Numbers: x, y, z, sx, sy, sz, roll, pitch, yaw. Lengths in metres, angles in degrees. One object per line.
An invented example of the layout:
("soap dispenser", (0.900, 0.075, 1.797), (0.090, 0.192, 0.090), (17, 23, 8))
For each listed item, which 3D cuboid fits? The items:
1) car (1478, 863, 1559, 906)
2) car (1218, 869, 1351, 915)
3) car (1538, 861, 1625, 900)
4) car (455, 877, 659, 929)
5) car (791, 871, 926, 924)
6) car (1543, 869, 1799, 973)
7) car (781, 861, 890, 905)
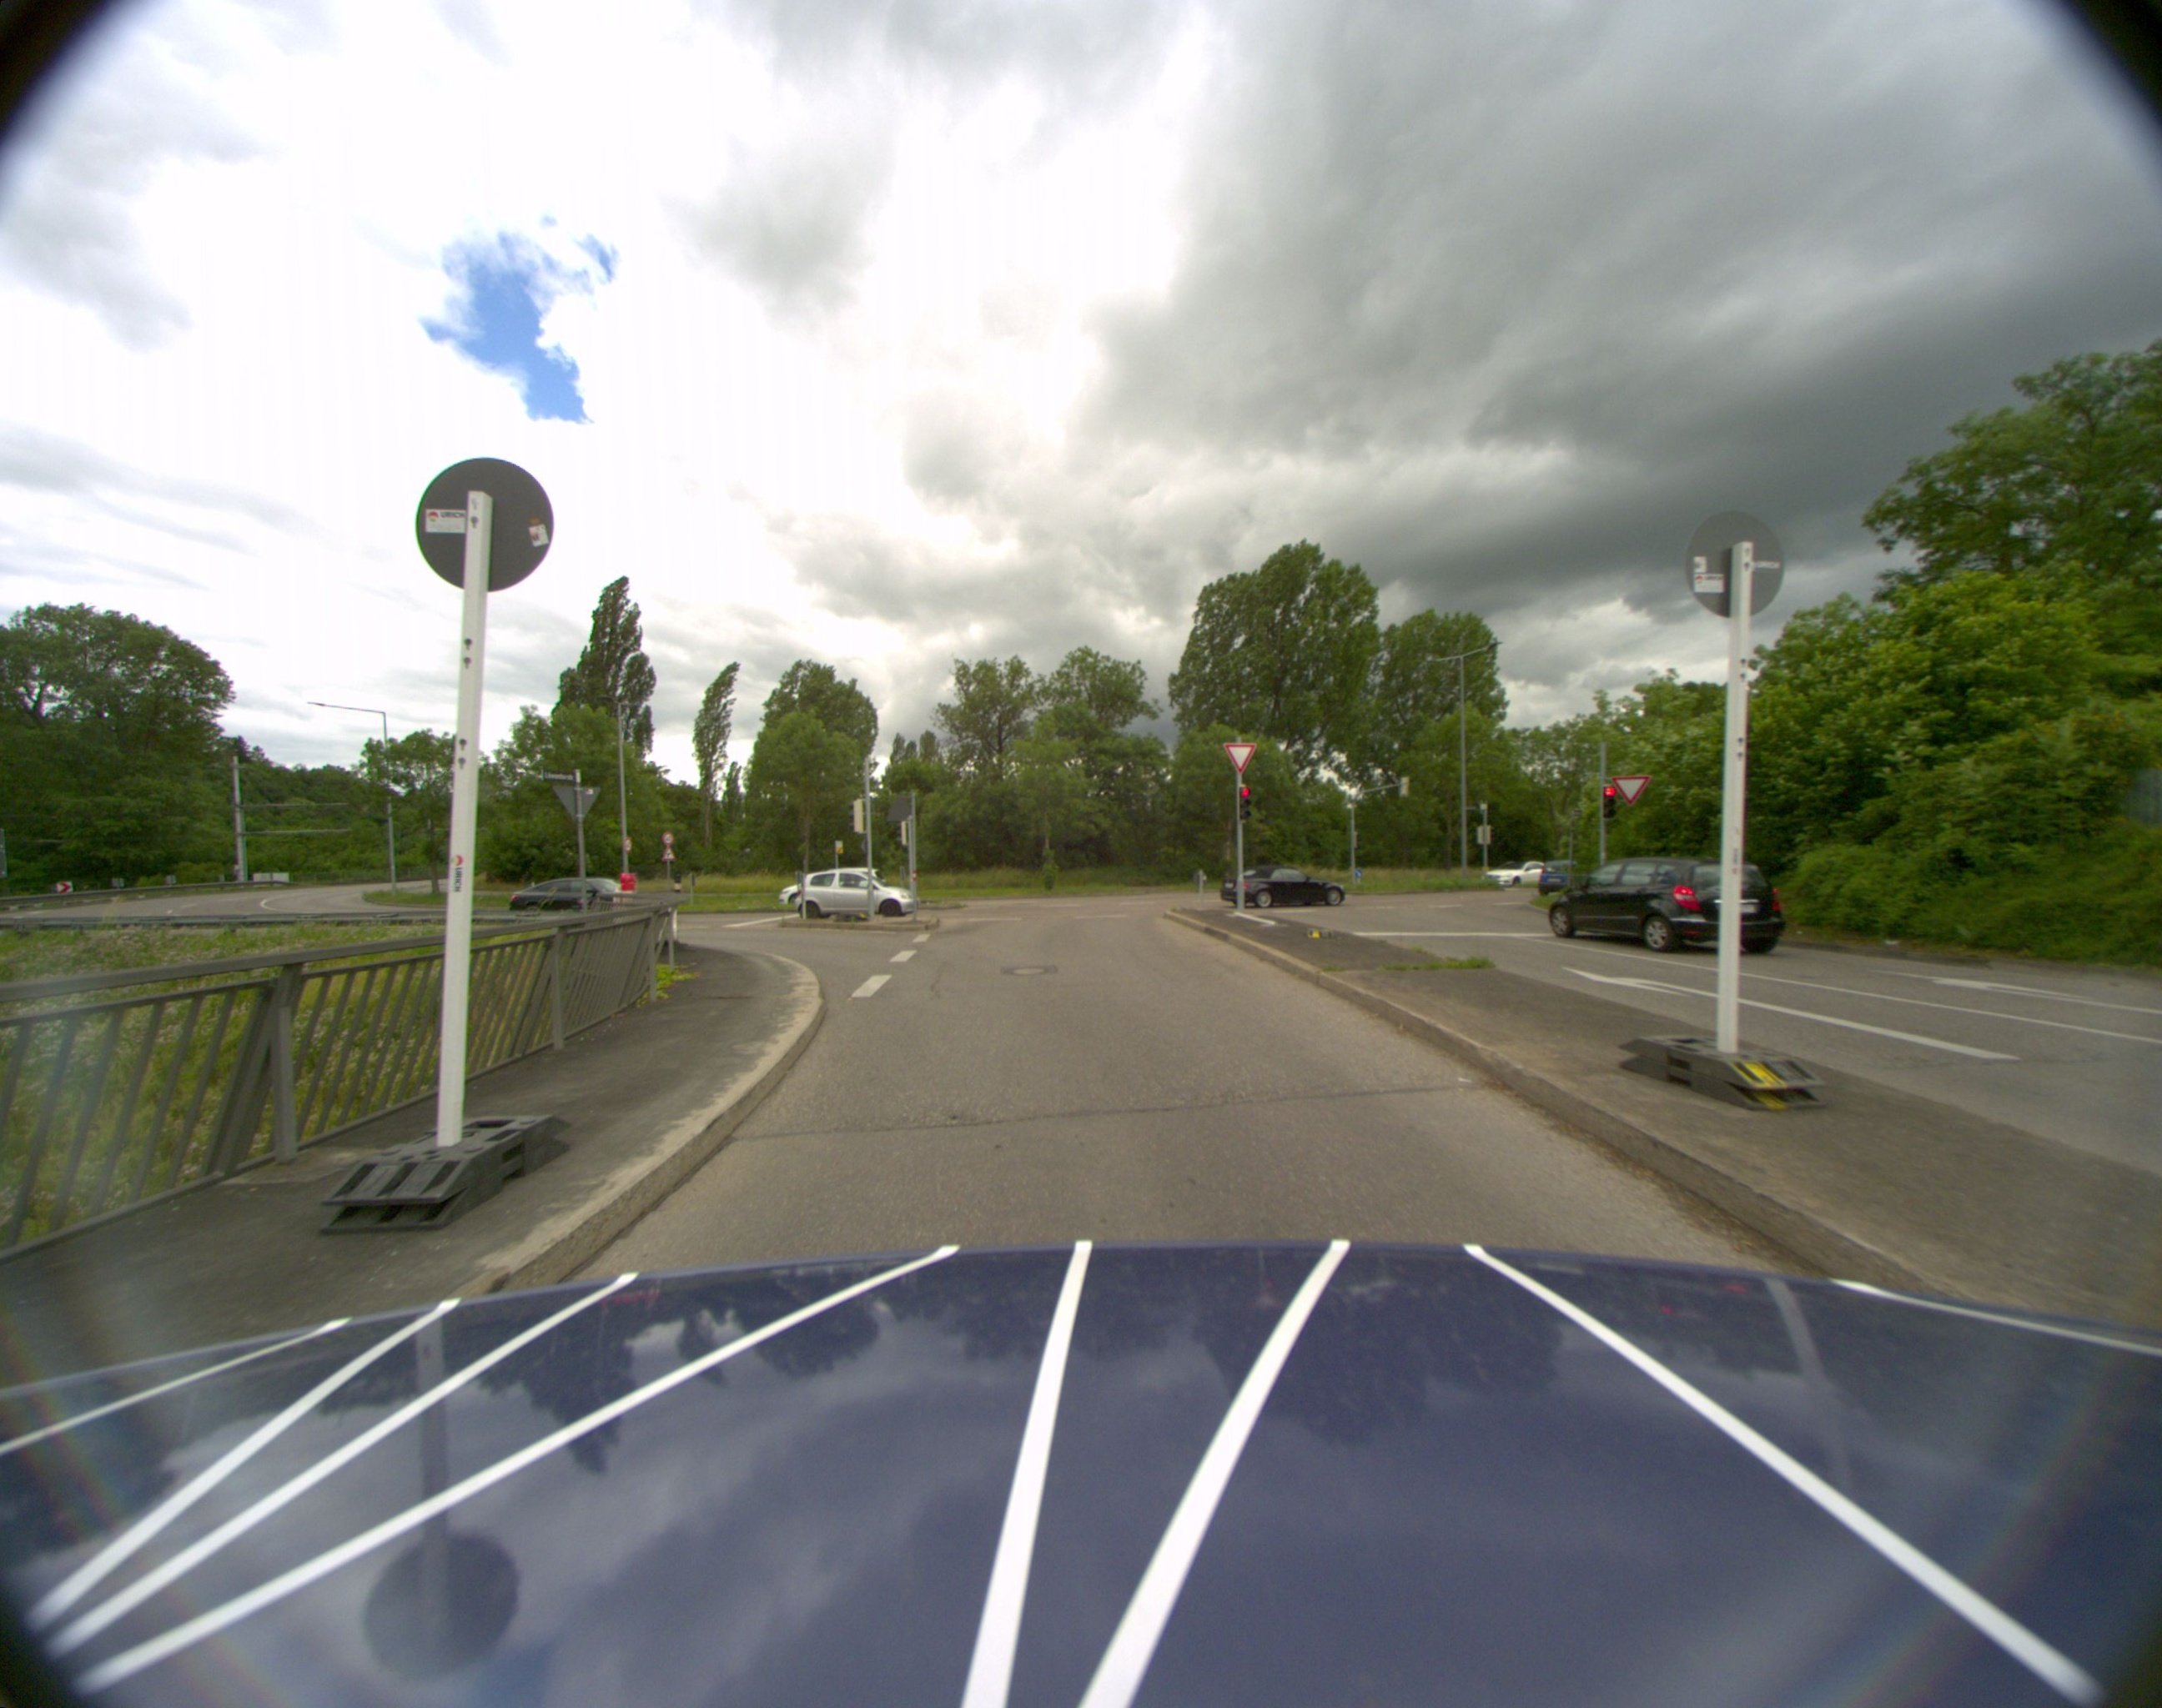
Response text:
("car", (24.911, 1.689, 43.241), (4.327, 1.984, 1.931), (-4, 3, -27))
("car", (6.861, 1.245, 25.676), (4.086, 1.360, 1.567), (-1, -1, -16))
("car", (20.794, 1.078, 31.568), (3.385, 1.498, 1.545), (-1, -1, -28))
("car", (-15.898, 1.459, 23.226), (4.960, 1.467, 1.879), (-1, -1, 1))
("car", (-6.690, 1.287, 23.106), (3.627, 1.461, 1.673), (-1, 0, -3))
("car", (10.247, 1.076, 13.611), (1.642, 1.543, 3.789), (1, -1, 0))
("car", (-10.720, 1.255, 33.533), (4.323, 1.749, 2.081), (-1, 0, -11))
